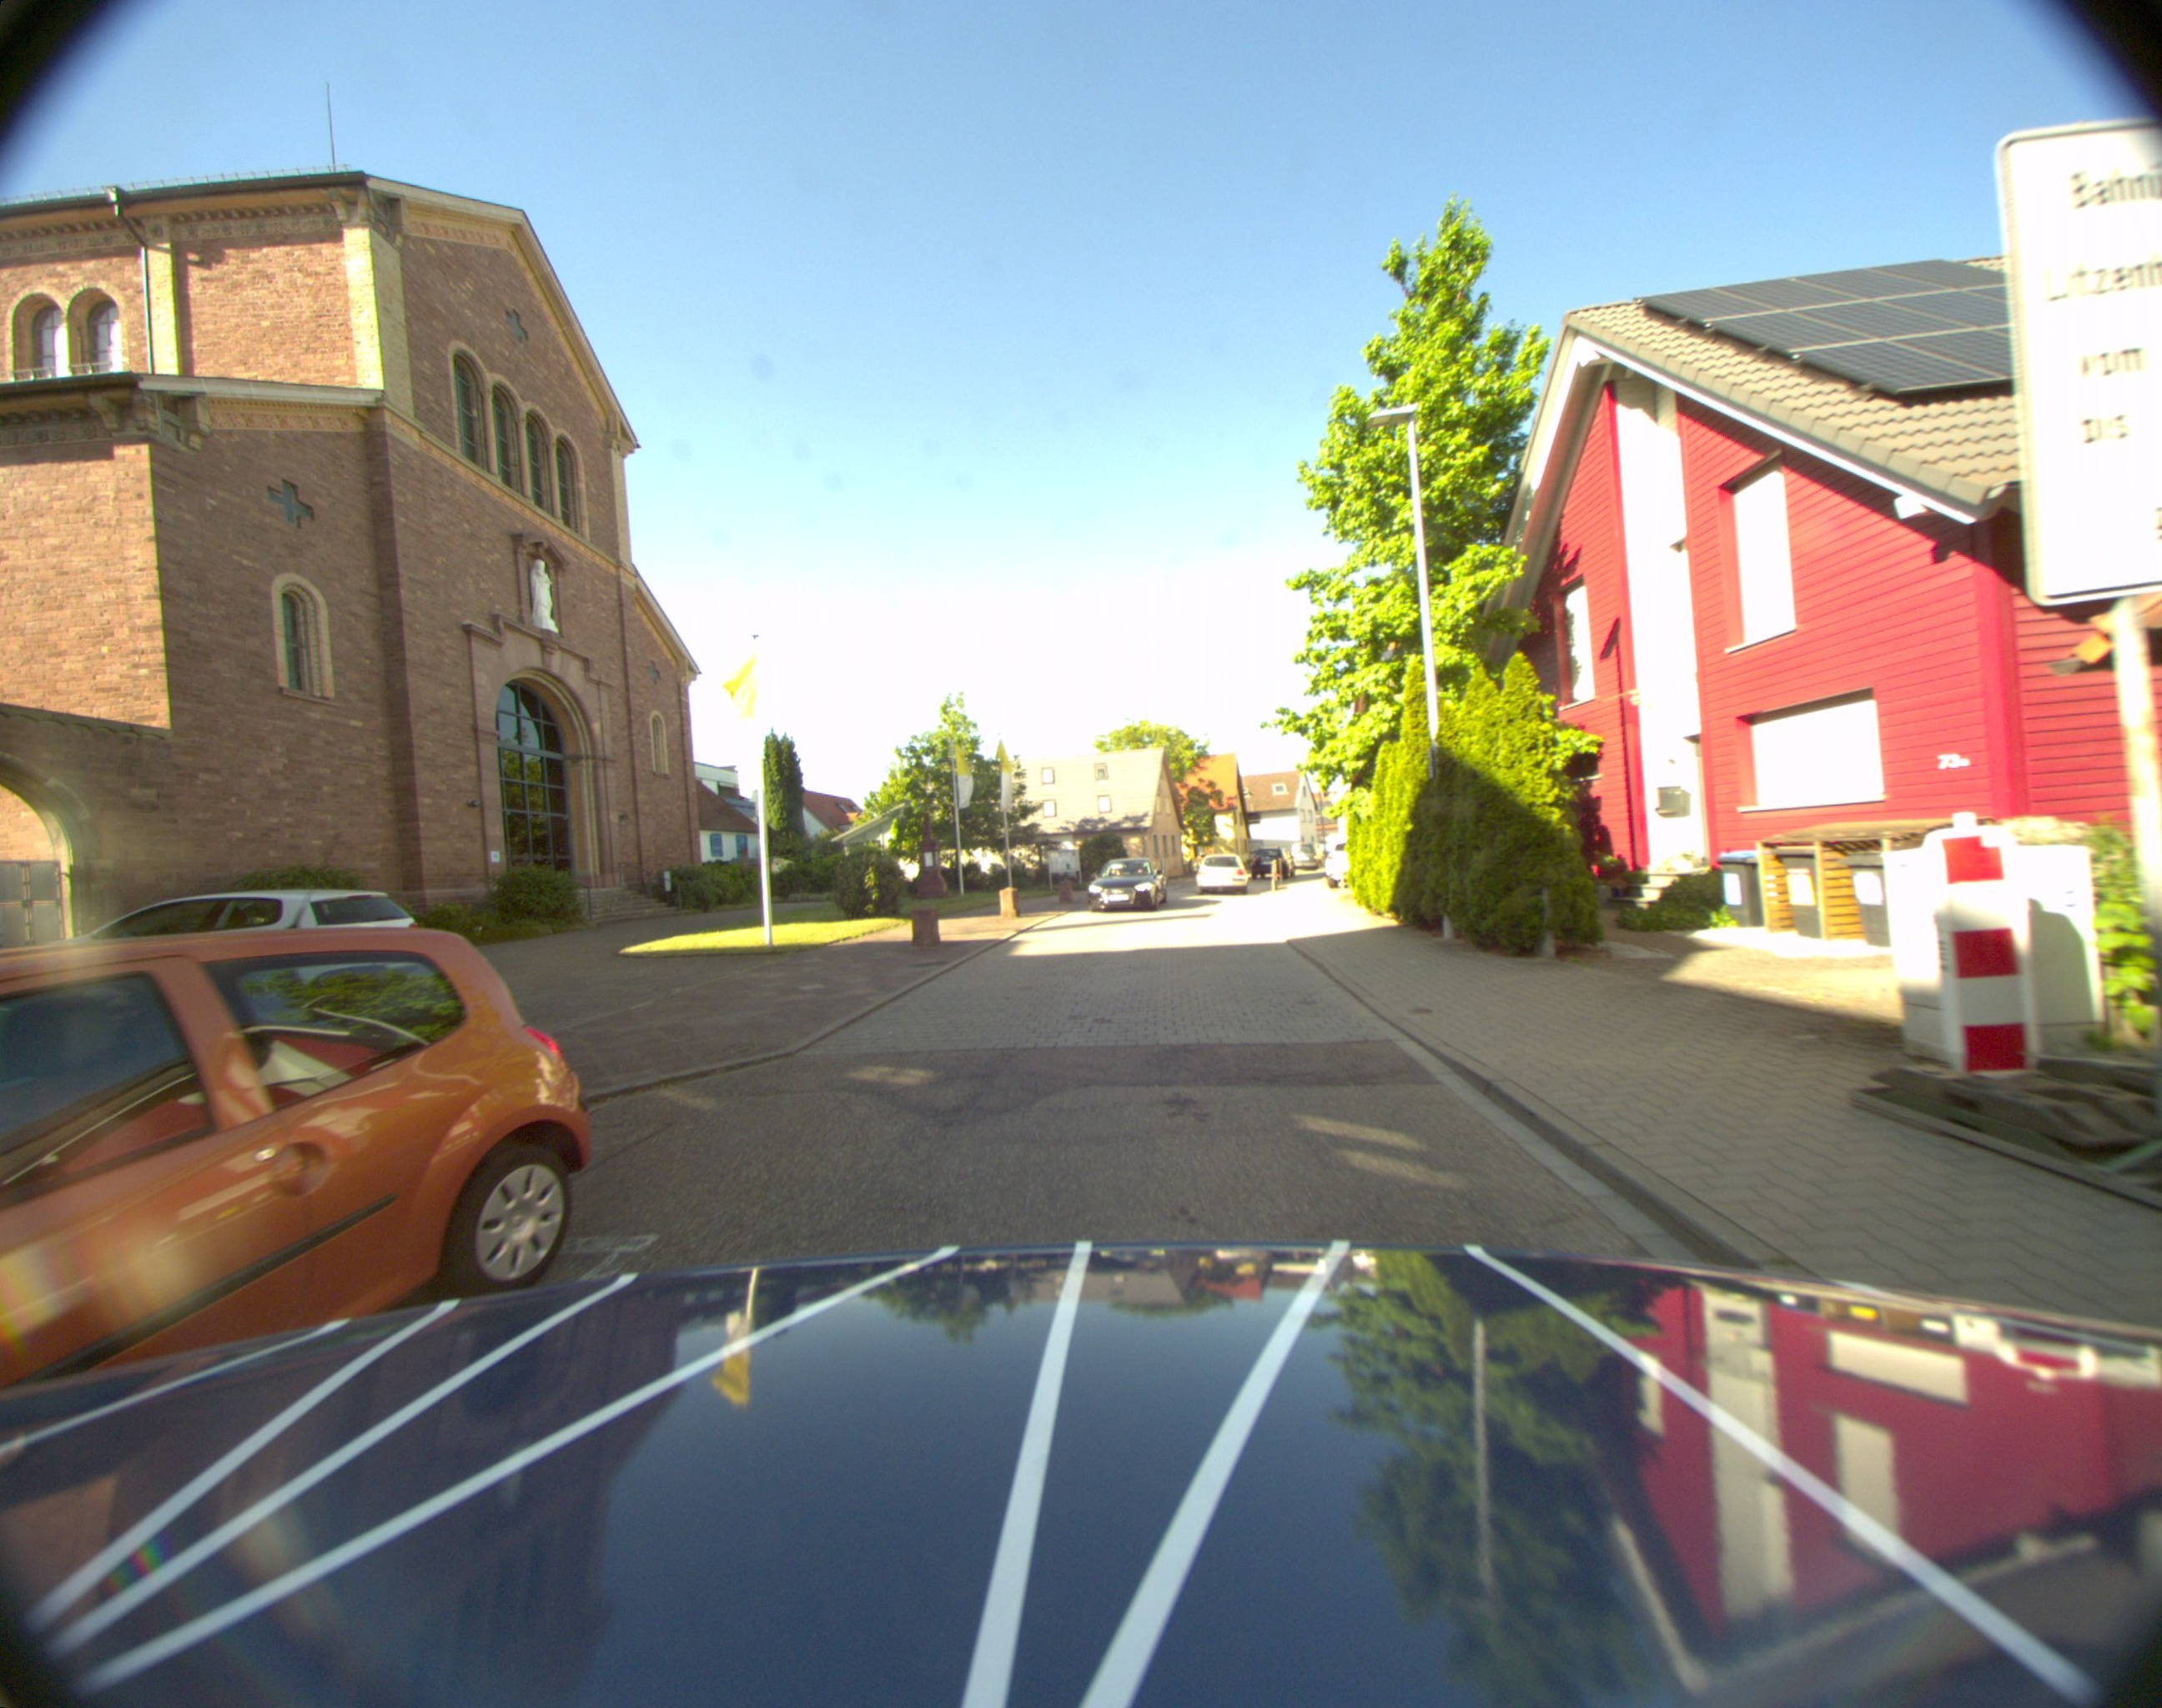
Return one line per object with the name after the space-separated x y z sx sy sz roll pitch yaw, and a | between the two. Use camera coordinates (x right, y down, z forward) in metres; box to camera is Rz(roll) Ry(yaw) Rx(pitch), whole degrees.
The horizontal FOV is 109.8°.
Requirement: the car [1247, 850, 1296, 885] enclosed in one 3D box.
9.927 0.666 39.396 1.834 1.661 4.359 -2 0 22 | car

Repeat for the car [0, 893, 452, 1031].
-11.256 1.362 10.231 3.908 1.488 1.904 -1 1 -1 | car

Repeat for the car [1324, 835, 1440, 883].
12.328 0.210 31.403 3.995 1.579 2.001 -5 -1 8 | car

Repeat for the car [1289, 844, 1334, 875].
15.019 0.332 49.371 1.834 1.779 4.360 -4 -1 28 | car

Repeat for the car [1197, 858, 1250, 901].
5.201 0.859 27.442 1.673 1.394 3.896 0 1 14 | car

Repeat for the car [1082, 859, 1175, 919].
1.446 0.913 21.470 1.805 1.469 4.348 -1 0 15 | car

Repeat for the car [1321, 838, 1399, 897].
9.130 0.381 24.629 1.819 1.586 4.452 -5 -1 26 | car

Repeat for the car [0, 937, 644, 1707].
-3.043 1.173 1.604 1.652 1.470 3.935 -5 -1 4 | car
